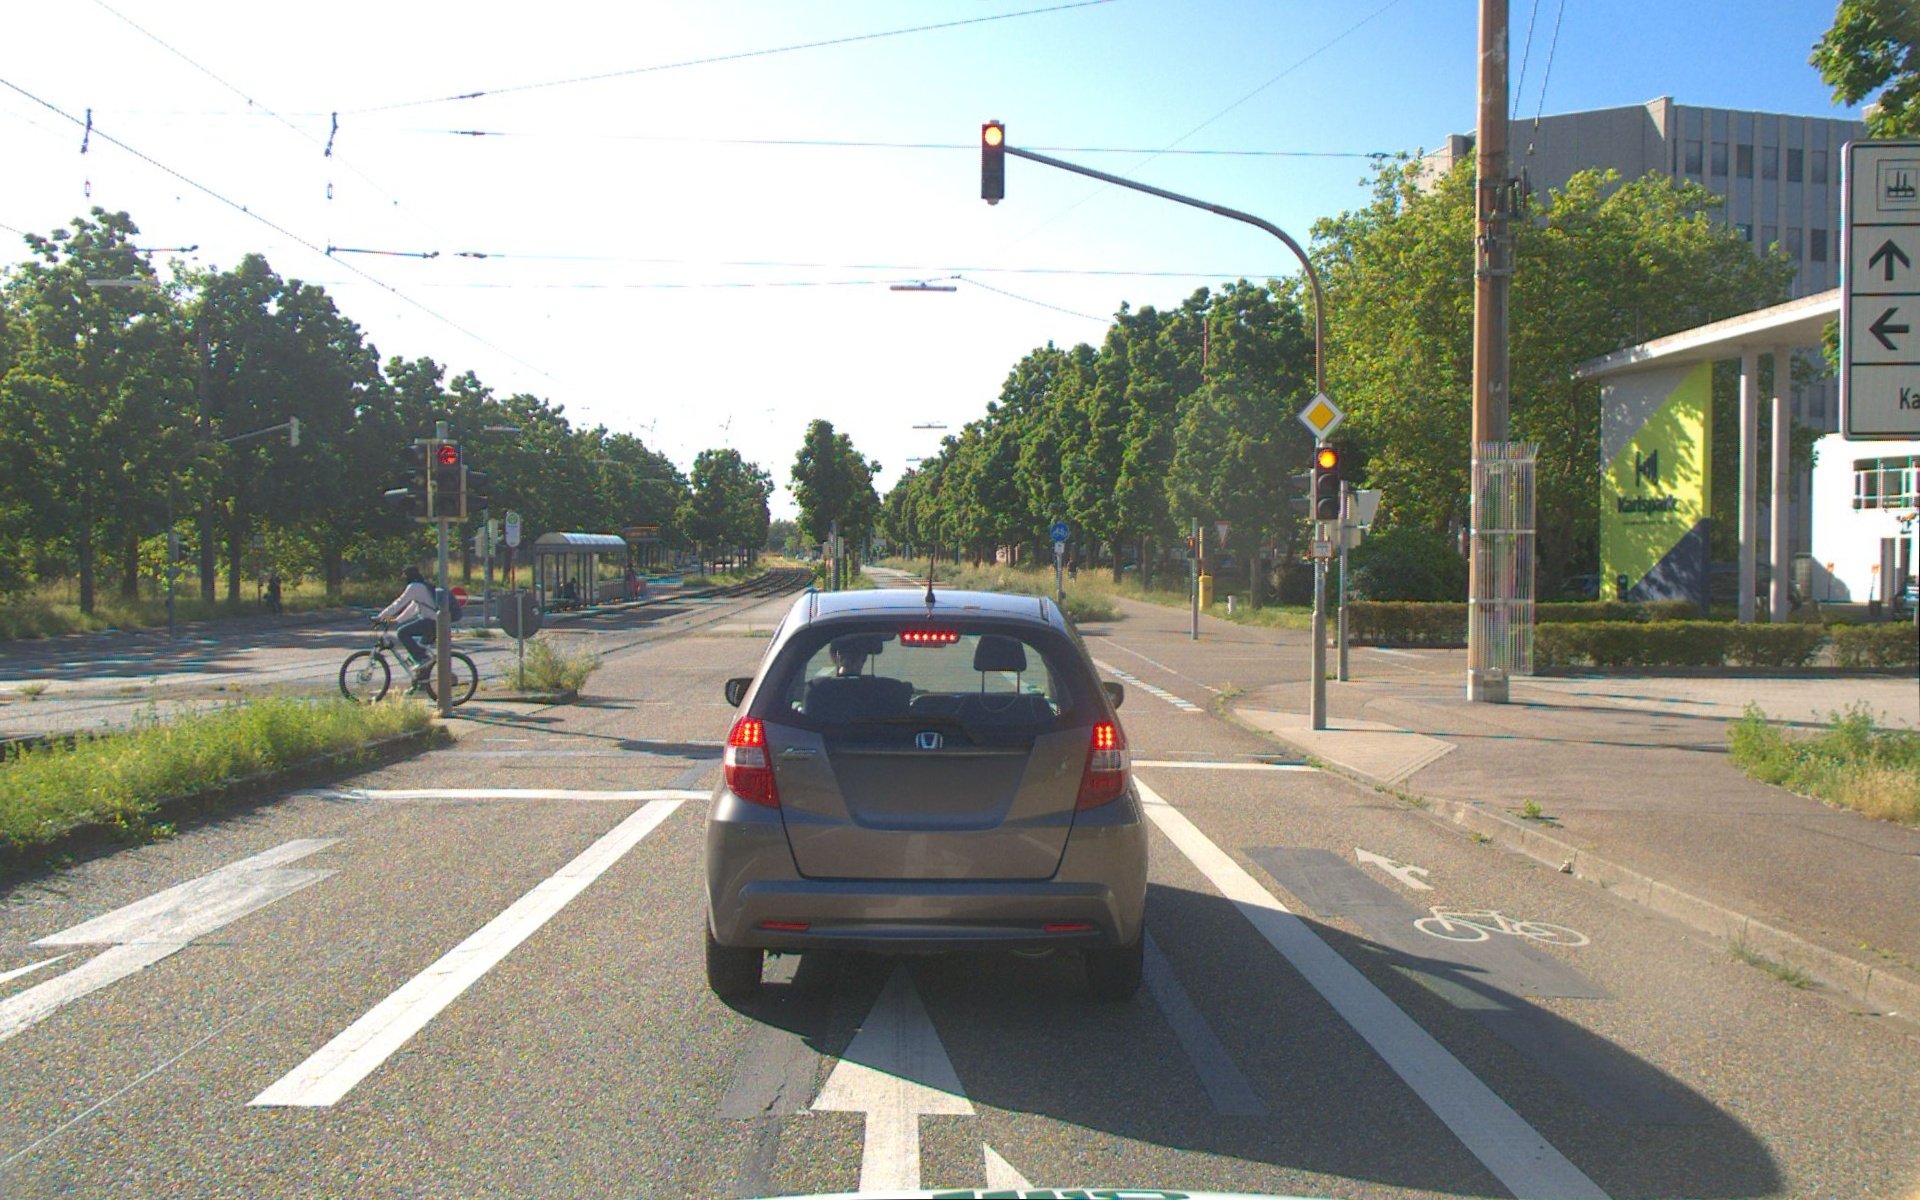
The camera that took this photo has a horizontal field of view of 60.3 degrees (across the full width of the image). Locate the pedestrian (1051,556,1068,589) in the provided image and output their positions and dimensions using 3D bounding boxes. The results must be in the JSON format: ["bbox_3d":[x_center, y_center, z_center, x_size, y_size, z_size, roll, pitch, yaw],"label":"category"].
[{"bbox_3d":[5.698,-1.580,94.924,0.865,1.917,0.875,0,1,-5],"label":"pedestrian"}]

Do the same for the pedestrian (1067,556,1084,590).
[{"bbox_3d":[6.618,-1.564,94.959,0.865,1.917,0.875,0,1,-5],"label":"pedestrian"}]

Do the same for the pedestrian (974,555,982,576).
[{"bbox_3d":[1.535,-2.947,141.438,0.710,1.720,0.820,0,-1,-3],"label":"pedestrian"}]

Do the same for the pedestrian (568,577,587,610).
[{"bbox_3d":[-15.099,-0.265,65.291,0.552,1.279,0.580,-2,0,-2],"label":"pedestrian"}]

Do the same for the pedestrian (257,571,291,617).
[{"bbox_3d":[-26.622,-0.228,64.171,0.744,1.764,0.936,0,1,27],"label":"pedestrian"}]

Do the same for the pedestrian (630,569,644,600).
[{"bbox_3d":[-15.589,-0.766,79.845,0.533,1.473,0.559,-1,0,-1],"label":"pedestrian"}]

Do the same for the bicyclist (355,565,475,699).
[{"bbox_3d":[-6.719,0.385,20.437,1.208,1.621,0.805,0,0,-2],"label":"bicyclist"}]

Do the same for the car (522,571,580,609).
[{"bbox_3d":[-21.829,-0.542,88.485,2.052,1.841,4.791,-2,2,-3],"label":"car"}]

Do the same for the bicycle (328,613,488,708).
[{"bbox_3d":[-6.784,0.739,20.386,1.739,1.121,0.698,0,0,-2],"label":"bicycle"}]

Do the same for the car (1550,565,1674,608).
[{"bbox_3d":[26.631,-0.547,67.594,4.371,1.715,1.892,0,1,-7],"label":"car"}]

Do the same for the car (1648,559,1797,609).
[{"bbox_3d":[27.997,-0.614,60.752,4.803,1.787,2.083,0,1,-16],"label":"car"}]

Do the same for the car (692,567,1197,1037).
[{"bbox_3d":[-0.076,0.671,7.358,1.666,1.550,3.709,1,0,-1],"label":"car"}]

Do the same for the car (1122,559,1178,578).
[{"bbox_3d":[16.609,-2.740,144.811,4.543,1.582,1.997,-1,1,-7],"label":"car"}]

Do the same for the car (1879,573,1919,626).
[{"bbox_3d":[30.628,-0.021,50.725,3.914,1.605,1.950,0,1,-10],"label":"car"}]
